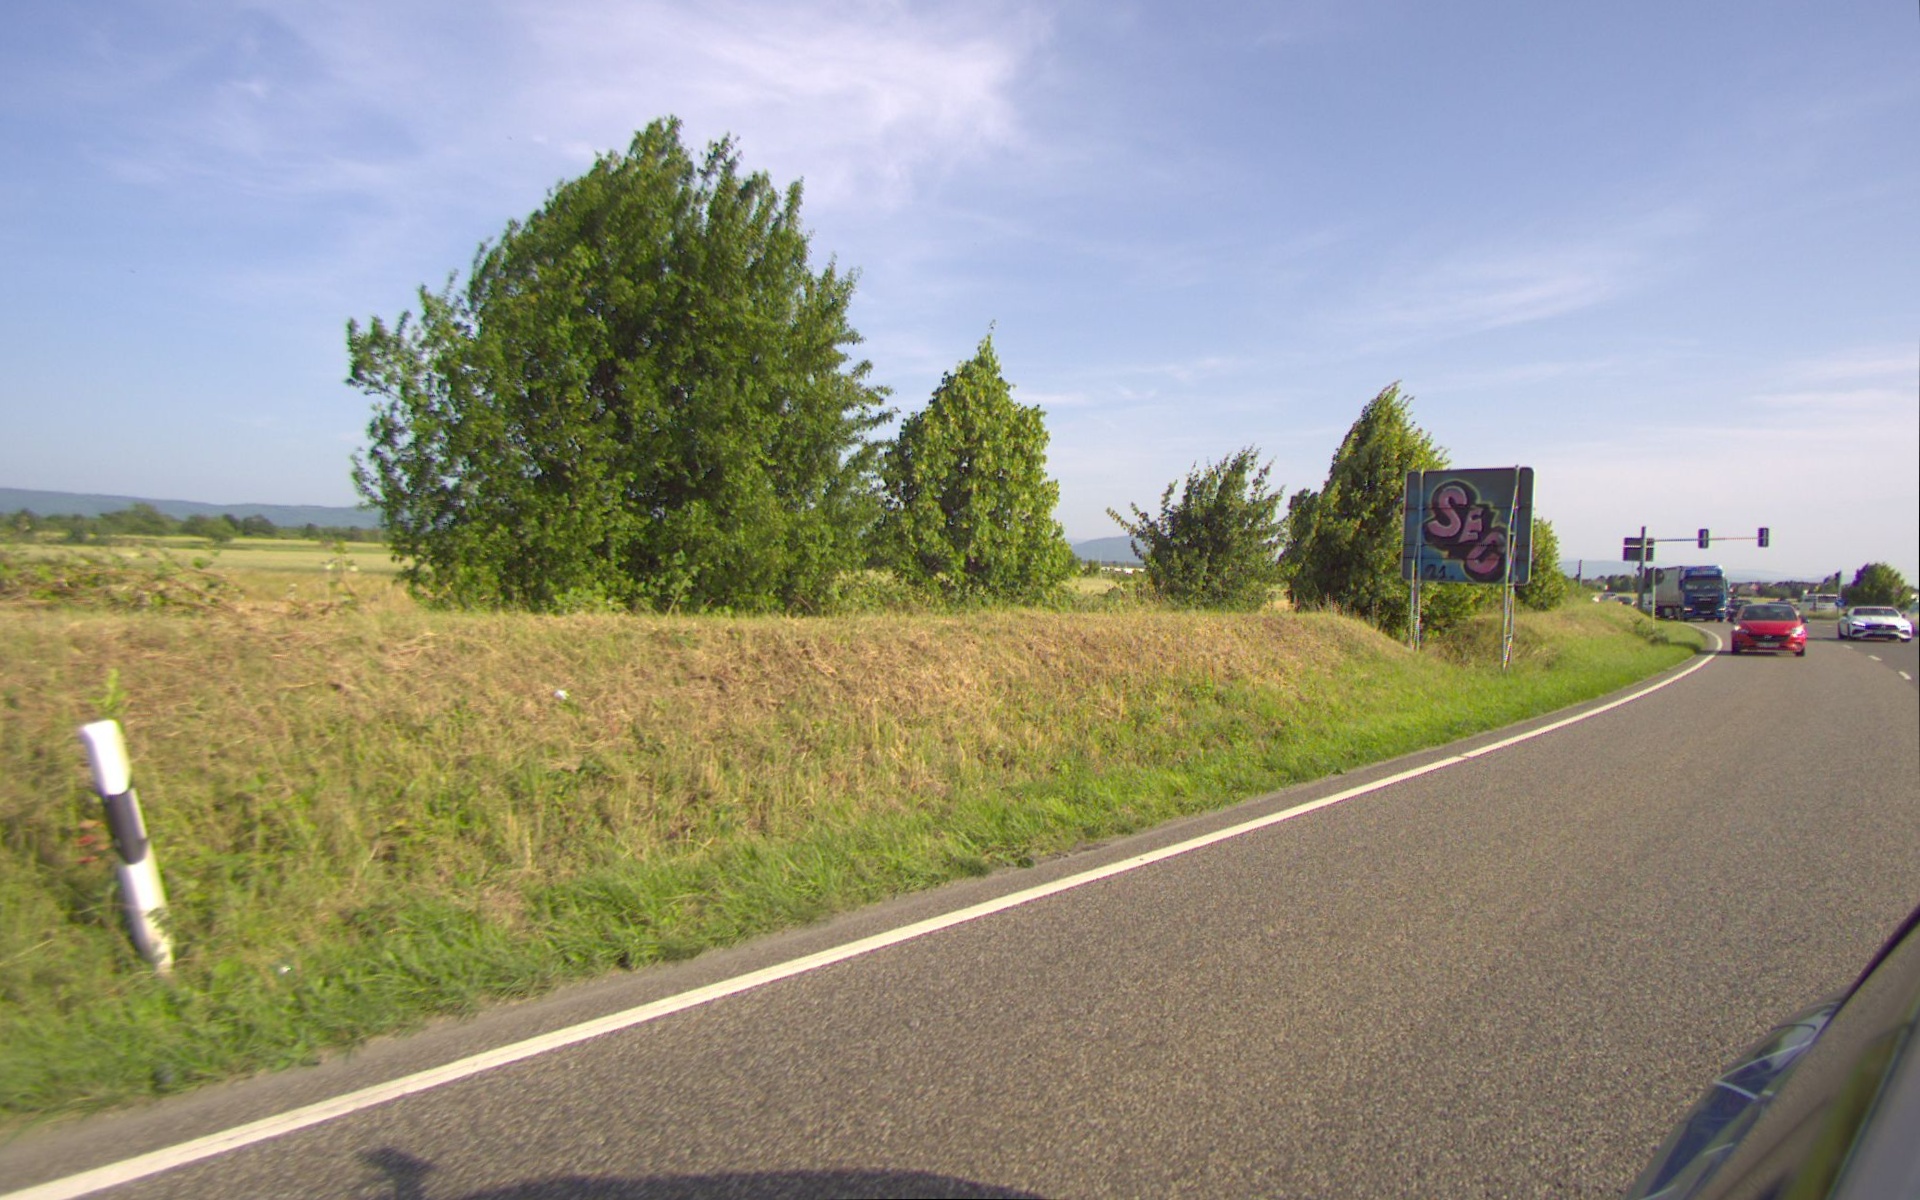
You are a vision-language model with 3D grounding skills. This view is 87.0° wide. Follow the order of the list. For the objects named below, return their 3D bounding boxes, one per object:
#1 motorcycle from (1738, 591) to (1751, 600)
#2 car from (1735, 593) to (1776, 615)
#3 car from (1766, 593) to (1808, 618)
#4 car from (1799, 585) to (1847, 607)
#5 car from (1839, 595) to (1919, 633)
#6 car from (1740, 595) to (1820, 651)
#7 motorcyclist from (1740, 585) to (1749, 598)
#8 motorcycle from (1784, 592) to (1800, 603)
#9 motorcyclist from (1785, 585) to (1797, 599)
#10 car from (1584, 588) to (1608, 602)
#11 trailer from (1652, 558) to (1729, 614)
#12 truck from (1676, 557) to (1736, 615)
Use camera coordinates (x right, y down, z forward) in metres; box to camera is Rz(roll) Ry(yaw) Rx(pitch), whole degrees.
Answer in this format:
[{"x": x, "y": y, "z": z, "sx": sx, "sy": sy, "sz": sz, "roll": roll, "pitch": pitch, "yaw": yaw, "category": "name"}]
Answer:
[{"x": 94.883, "y": -0.563, "z": 122.413, "sx": 0.695, "sy": 1.152, "sz": 2.259, "roll": 1, "pitch": 1, "yaw": 24, "category": "motorcycle"}, {"x": 60.375, "y": 0.261, "z": 76.838, "sx": 1.816, "sy": 1.549, "sz": 3.959, "roll": 1, "pitch": 1, "yaw": 29, "category": "car"}, {"x": 54.057, "y": 0.336, "z": 66.202, "sx": 1.740, "sy": 1.549, "sz": 3.952, "roll": 1, "pitch": 1, "yaw": 33, "category": "car"}, {"x": 77.700, "y": -0.366, "z": 91.183, "sx": 1.981, "sy": 1.927, "sz": 5.734, "roll": 1, "pitch": 1, "yaw": 27, "category": "car"}, {"x": 37.259, "y": 0.531, "z": 40.962, "sx": 1.863, "sy": 1.415, "sz": 4.156, "roll": 1, "pitch": 1, "yaw": 32, "category": "car"}, {"x": 24.141, "y": 0.627, "z": 29.742, "sx": 1.660, "sy": 1.482, "sz": 3.895, "roll": 1, "pitch": 1, "yaw": 42, "category": "car"}, {"x": 94.884, "y": -1.049, "z": 122.420, "sx": 0.692, "sy": 1.522, "sz": 0.889, "roll": 1, "pitch": 0, "yaw": 24, "category": "motorcyclist"}, {"x": 89.542, "y": -0.303, "z": 108.936, "sx": 0.701, "sy": 1.173, "sz": 2.009, "roll": 1, "pitch": 1, "yaw": 21, "category": "motorcycle"}, {"x": 89.573, "y": -0.903, "z": 109.039, "sx": 0.698, "sy": 1.483, "sz": 1.013, "roll": 1, "pitch": 0, "yaw": 21, "category": "motorcyclist"}, {"x": 85.899, "y": -0.675, "z": 136.754, "sx": 1.976, "sy": 1.905, "sz": 3.972, "roll": 1, "pitch": 1, "yaw": 21, "category": "car"}, {"x": 56.542, "y": -1.093, "z": 78.660, "sx": 2.627, "sy": 4.028, "sz": 13.802, "roll": 0, "pitch": 1, "yaw": 27, "category": "trailer"}, {"x": 53.483, "y": -1.031, "z": 72.696, "sx": 2.629, "sy": 3.969, "sz": 5.892, "roll": 0, "pitch": 1, "yaw": 28, "category": "truck"}]
